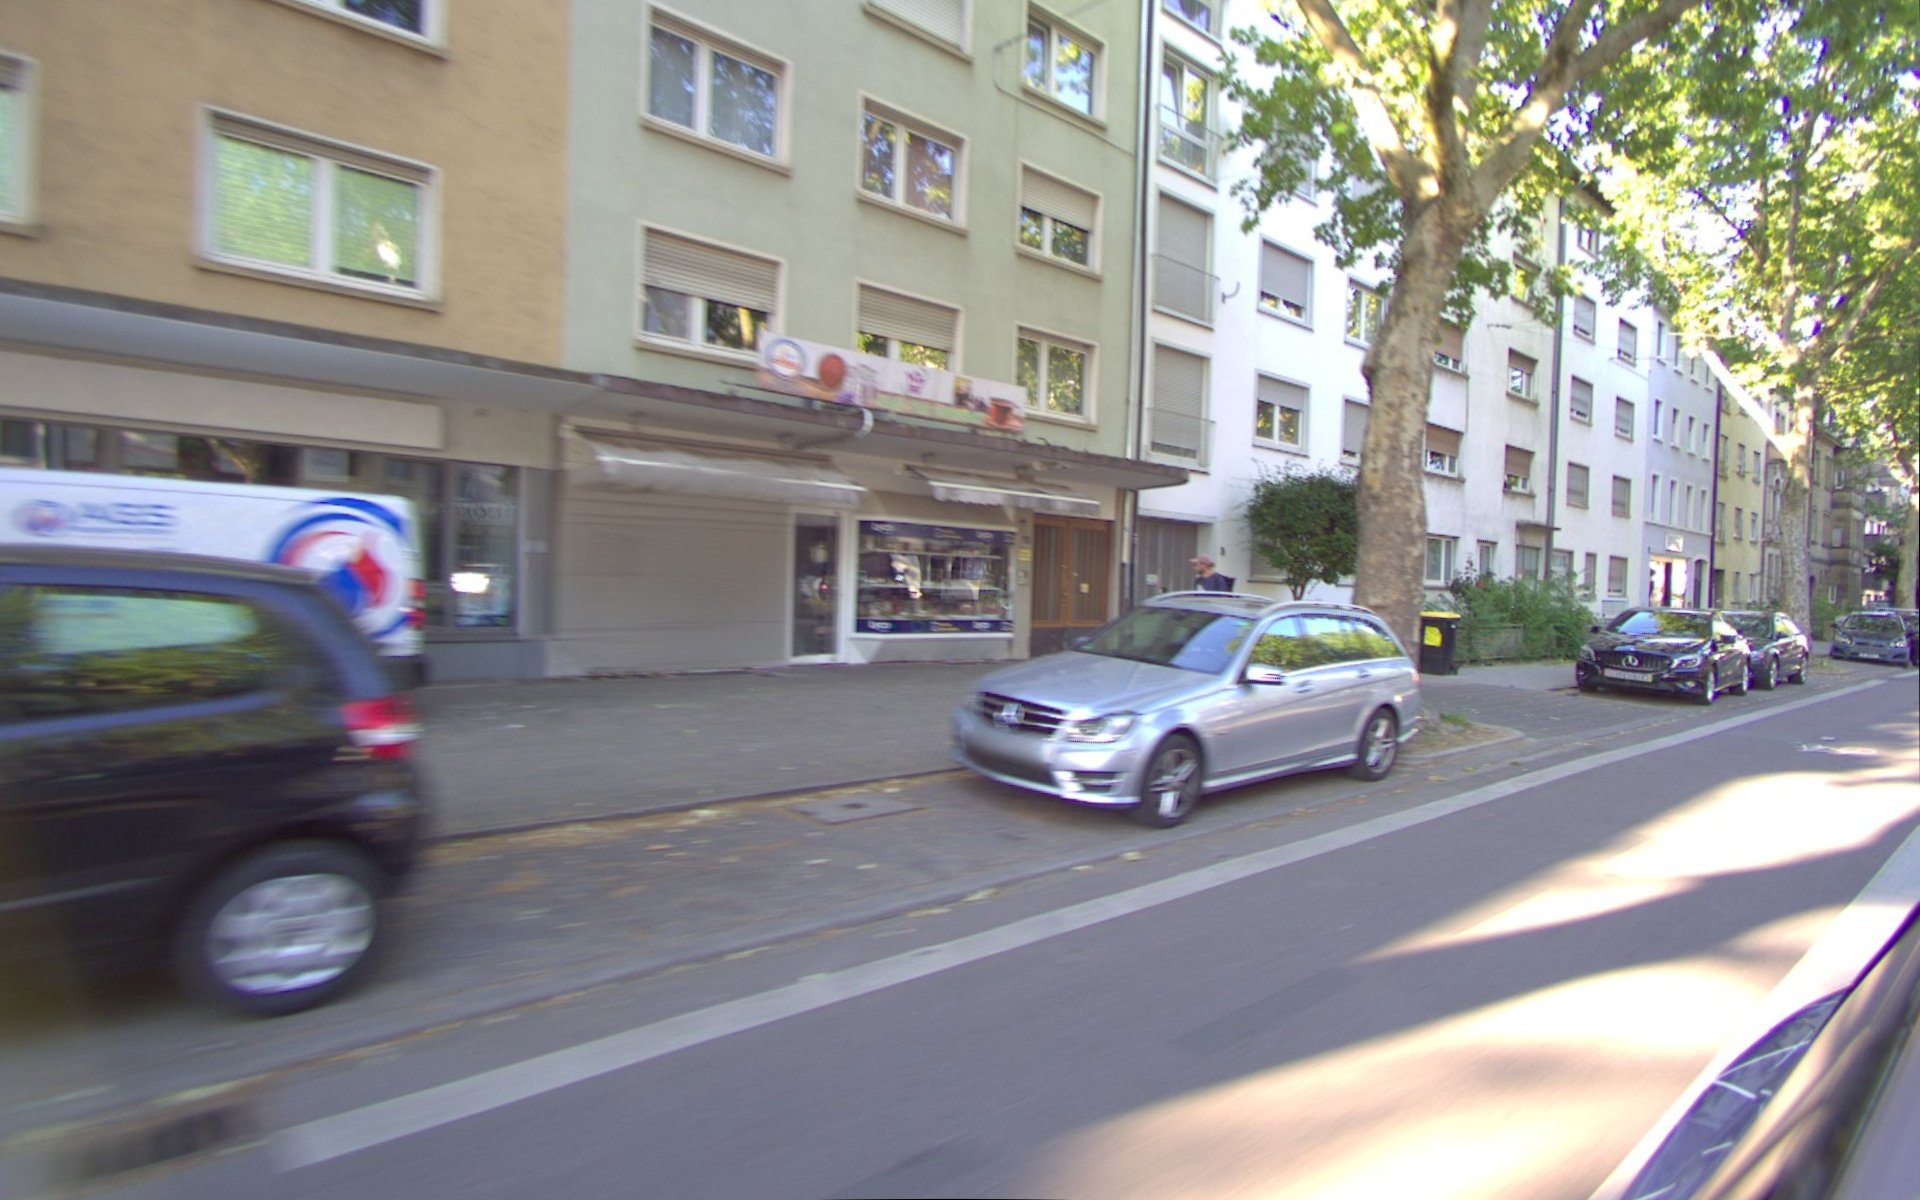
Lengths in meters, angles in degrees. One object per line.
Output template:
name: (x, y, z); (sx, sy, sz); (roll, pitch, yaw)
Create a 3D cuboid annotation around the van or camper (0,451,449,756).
van or camper: (-6.767, -0.022, 7.155); (5.297, 1.946, 1.946); (1, 2, -42)

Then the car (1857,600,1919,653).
car: (32.257, 0.869, 34.405); (4.583, 1.585, 1.998); (0, 4, -41)

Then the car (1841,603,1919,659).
car: (27.351, 0.861, 29.894); (1.744, 1.482, 3.961); (3, 2, 44)

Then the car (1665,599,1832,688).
car: (15.446, 0.766, 19.751); (4.287, 1.432, 1.712); (0, 4, -41)

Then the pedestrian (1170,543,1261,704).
pedestrian: (3.397, 0.288, 13.447); (0.994, 2.038, 0.684); (1, 1, -41)

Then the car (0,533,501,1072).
car: (-3.767, 0.549, 3.153); (3.930, 1.564, 1.657); (1, 2, -42)

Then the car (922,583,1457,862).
car: (2.064, 0.719, 8.051); (4.694, 1.561, 1.698); (1, 2, -42)

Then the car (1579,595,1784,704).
car: (11.869, 0.713, 16.541); (4.287, 1.432, 1.712); (0, 4, -41)

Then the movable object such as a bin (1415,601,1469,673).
movable object such as a bin: (8.313, 0.623, 17.457); (0.655, 1.173, 0.616); (1, 2, -43)

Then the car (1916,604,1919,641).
car: (41.979, 0.979, 42.903); (4.121, 1.545, 1.702); (1, 2, -41)
